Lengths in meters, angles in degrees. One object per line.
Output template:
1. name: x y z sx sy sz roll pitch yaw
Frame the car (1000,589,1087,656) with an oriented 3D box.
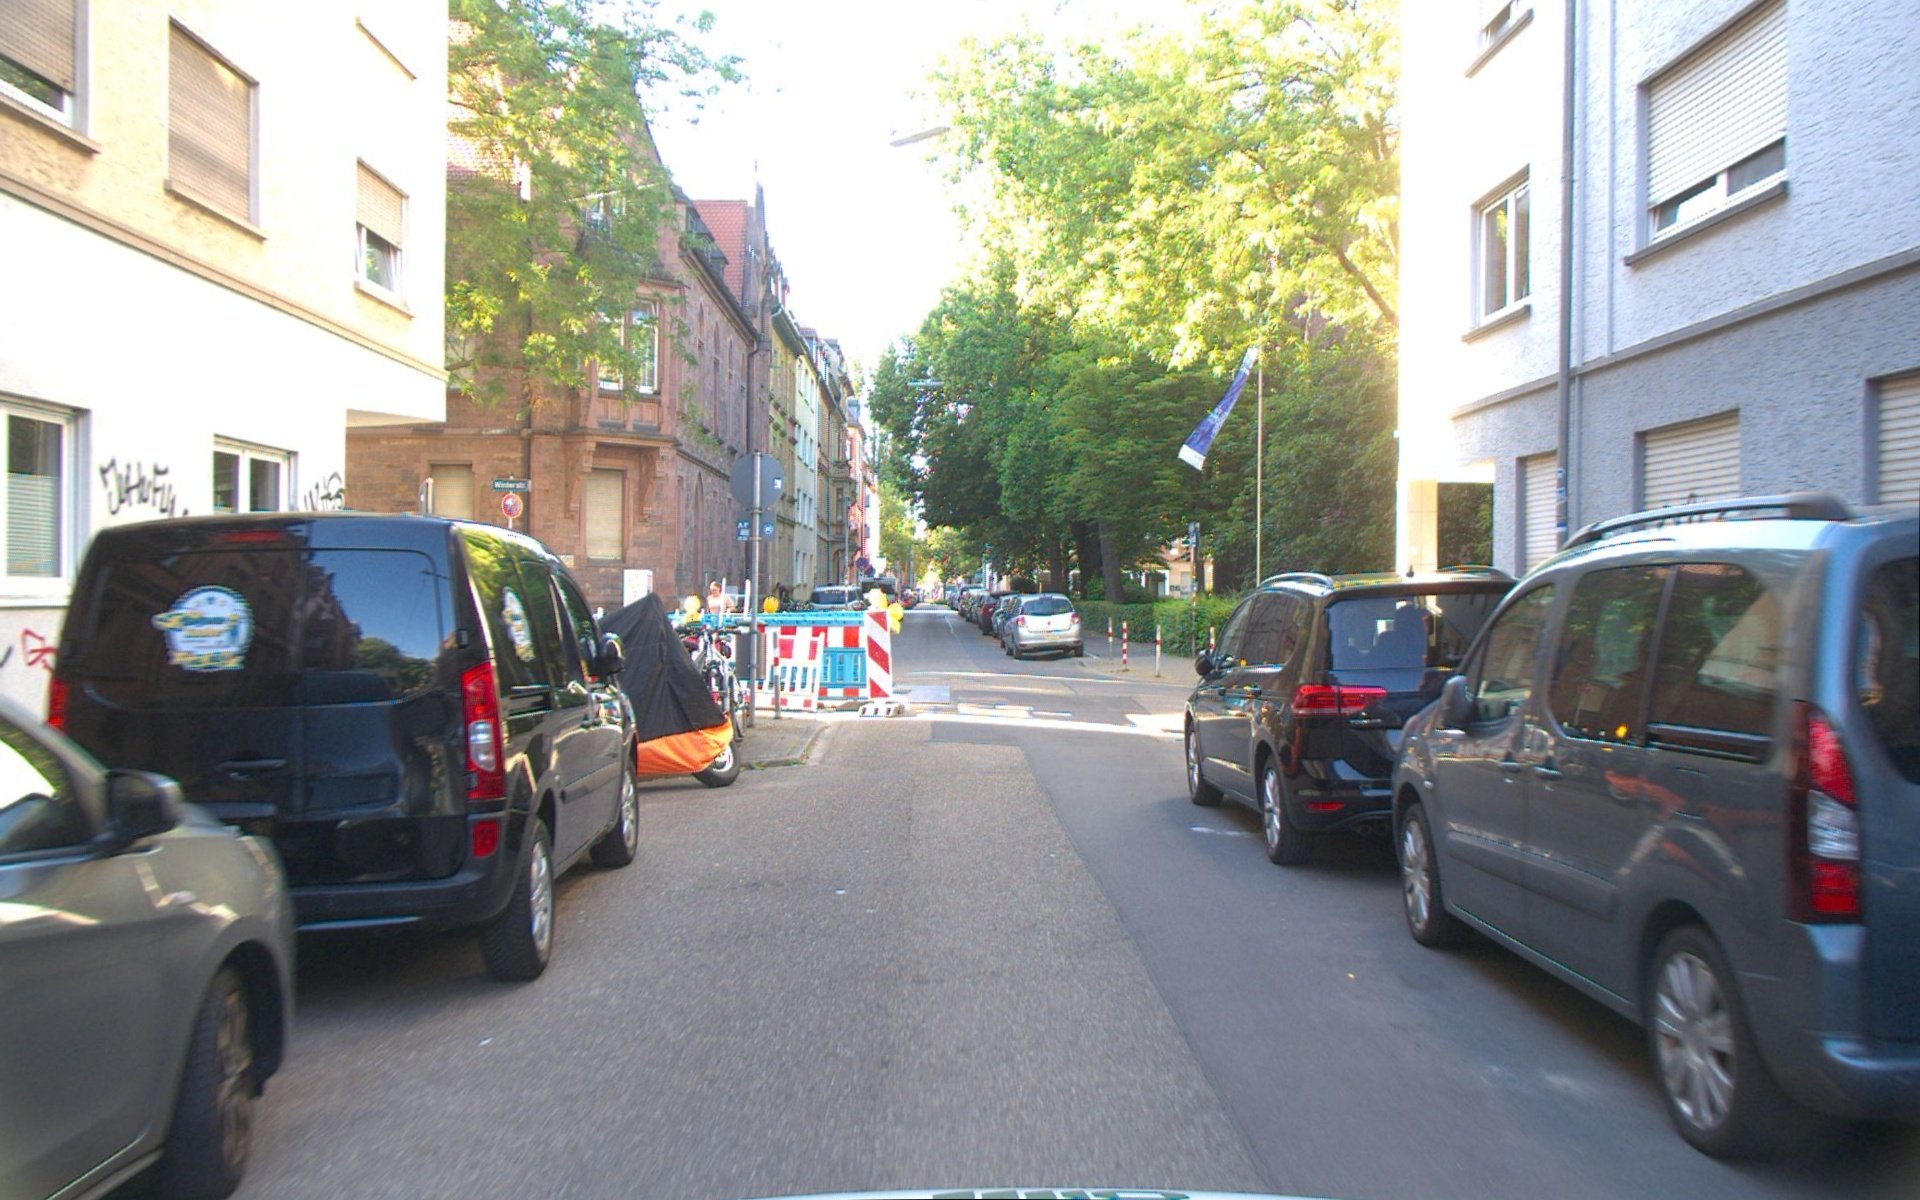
1. car: 1.987 0.510 40.391 1.689 1.549 3.997 0 0 -4

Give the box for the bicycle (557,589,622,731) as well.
1. bicycle: -3.552 0.540 15.932 0.288 1.248 1.699 0 2 -2

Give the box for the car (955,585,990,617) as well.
1. car: 0.675 0.029 93.063 1.792 1.733 3.999 1 0 -2

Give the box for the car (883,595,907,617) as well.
1. car: -5.294 0.456 134.521 1.911 1.739 3.998 0 0 -3

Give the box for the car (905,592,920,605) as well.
1. car: -6.351 -0.223 222.968 1.953 1.676 3.999 0 0 -1

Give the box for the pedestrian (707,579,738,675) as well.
1. pedestrian: -4.432 0.497 30.877 0.514 1.771 0.557 1 0 -6

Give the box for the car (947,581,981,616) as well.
1. car: 0.245 -0.099 111.910 2.117 2.295 4.523 0 0 -2

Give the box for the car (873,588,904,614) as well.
1. car: -4.518 0.084 104.979 1.864 1.601 3.998 0 0 -2

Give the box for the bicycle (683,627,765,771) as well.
1. bicycle: -2.084 0.847 14.750 0.416 1.160 1.666 3 0 0

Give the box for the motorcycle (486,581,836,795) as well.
1. motorcycle: -2.269 0.635 12.678 2.483 1.508 0.895 1 0 -28

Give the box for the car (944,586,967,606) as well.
1. car: -0.414 -0.347 149.375 1.953 1.758 3.999 0 0 -1

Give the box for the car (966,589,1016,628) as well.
1. car: 1.309 0.370 71.449 1.953 1.601 3.998 0 0 -2

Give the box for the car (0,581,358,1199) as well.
1. car: -2.544 0.698 2.931 1.643 1.475 3.644 1 0 -1

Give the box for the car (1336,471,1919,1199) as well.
1. car: 2.882 0.552 6.229 1.718 1.817 4.722 -2 1 -1

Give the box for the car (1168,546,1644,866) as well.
1. car: 2.624 0.566 10.884 1.862 1.668 4.389 0 0 -1

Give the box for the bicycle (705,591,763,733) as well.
1. bicycle: -2.148 0.564 15.804 0.391 1.248 1.505 0 2 -2

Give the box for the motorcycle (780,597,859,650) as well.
1. motorcycle: -3.409 0.557 39.926 0.661 1.228 2.275 1 0 -42

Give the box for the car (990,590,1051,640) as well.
1. car: 2.040 0.496 56.758 1.804 1.624 3.999 1 0 -2

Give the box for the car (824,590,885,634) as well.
1. car: -3.620 0.408 57.354 1.843 1.435 4.000 -1 0 0

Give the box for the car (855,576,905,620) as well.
1. car: -4.027 -0.081 84.347 2.262 2.151 5.169 0 0 0

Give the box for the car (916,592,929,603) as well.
1. car: -5.779 -0.397 253.902 1.953 1.676 3.999 0 0 -1

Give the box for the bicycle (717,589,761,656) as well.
1. bicycle: -4.926 0.482 37.033 0.669 1.448 2.797 0 0 -1

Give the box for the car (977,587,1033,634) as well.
1. car: 1.645 0.383 61.581 1.856 1.654 3.998 1 0 -2

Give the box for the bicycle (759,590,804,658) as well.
1. bicycle: -3.969 0.506 36.609 0.563 1.448 2.491 1 0 -16

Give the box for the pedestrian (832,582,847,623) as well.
1. pedestrian: -6.112 0.130 83.860 0.672 2.049 0.690 1 0 -8

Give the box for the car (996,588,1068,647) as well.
1. car: 1.950 0.462 45.923 1.688 1.549 3.998 0 0 -2

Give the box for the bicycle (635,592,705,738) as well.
1. bicycle: -2.726 0.573 15.663 0.391 1.248 1.873 0 2 -2

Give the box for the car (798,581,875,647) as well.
1. car: -3.415 0.376 46.303 1.843 1.737 4.000 -1 0 0

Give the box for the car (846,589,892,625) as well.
1. car: -3.651 0.252 67.041 1.735 1.377 3.999 1 0 -1

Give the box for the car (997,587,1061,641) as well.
1. car: 2.115 0.416 51.568 1.706 1.601 3.998 0 0 -2

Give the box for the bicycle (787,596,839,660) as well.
1. bicycle: -3.274 0.598 36.575 0.672 1.368 2.491 1 0 -16

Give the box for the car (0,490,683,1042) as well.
1. car: -2.406 0.536 7.609 1.782 1.797 4.332 1 0 -4
